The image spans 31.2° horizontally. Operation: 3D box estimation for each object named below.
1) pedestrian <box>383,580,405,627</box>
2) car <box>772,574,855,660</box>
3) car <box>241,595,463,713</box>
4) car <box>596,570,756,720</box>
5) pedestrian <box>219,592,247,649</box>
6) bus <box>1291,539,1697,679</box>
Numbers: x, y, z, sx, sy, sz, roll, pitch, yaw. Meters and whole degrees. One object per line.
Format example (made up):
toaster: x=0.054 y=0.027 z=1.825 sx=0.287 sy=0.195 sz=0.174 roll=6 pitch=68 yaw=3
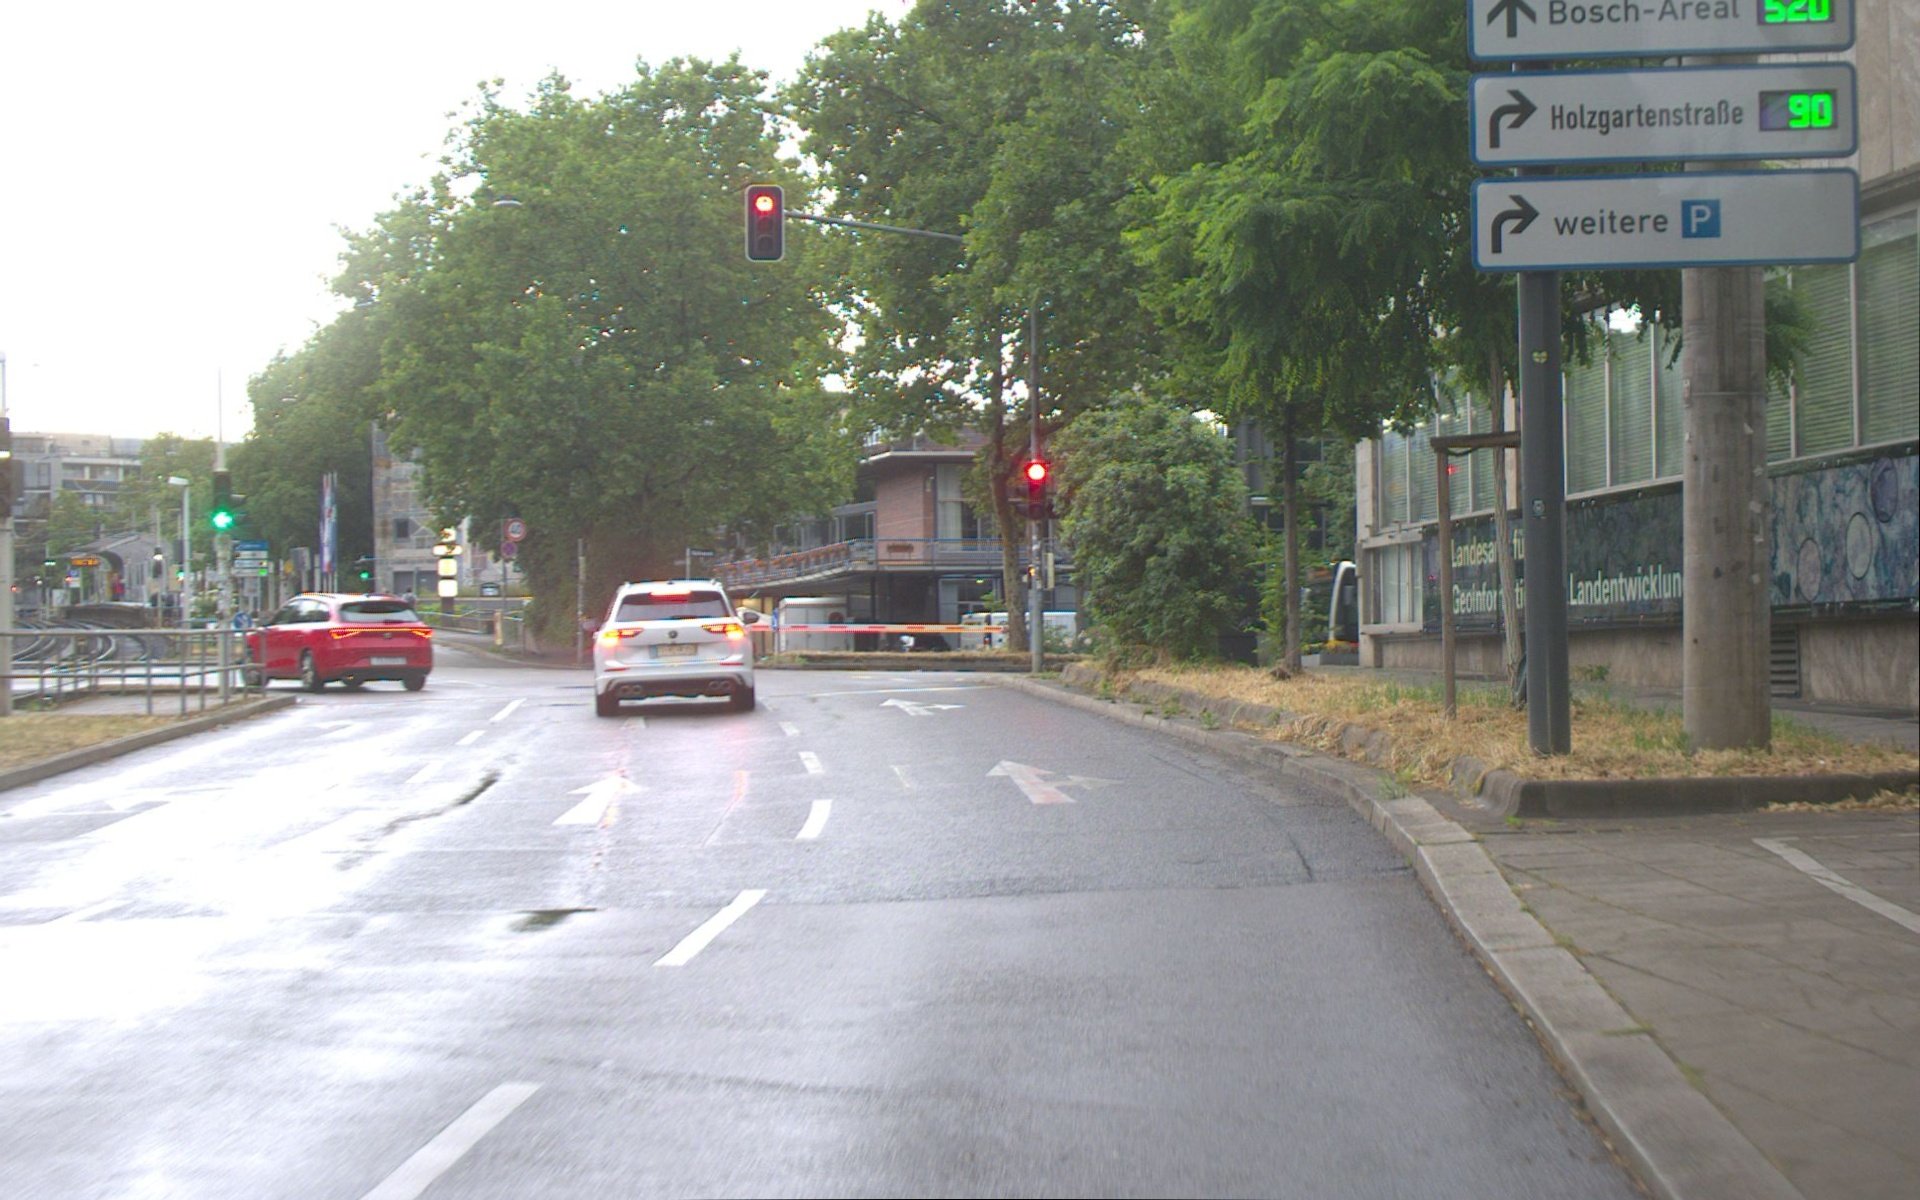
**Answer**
pedestrian: x=-22.274 y=0.128 z=135.288 sx=0.756 sy=1.817 sz=0.701 roll=1 pitch=-1 yaw=-16
car: x=-5.544 y=0.658 z=129.576 sx=2.544 sy=3.123 sz=5.032 roll=1 pitch=-1 yaw=-9
car: x=-9.015 y=0.789 z=50.694 sx=1.980 sy=1.634 sz=4.417 roll=2 pitch=-1 yaw=-27
car: x=-3.177 y=0.465 z=38.846 sx=1.679 sy=1.571 sz=4.253 roll=-1 pitch=0 yaw=-4
pedestrian: x=-21.207 y=0.609 z=100.295 sx=0.737 sy=1.634 sz=0.871 roll=1 pitch=-1 yaw=-13
bus: x=12.808 y=0.255 z=82.422 sx=9.421 sy=3.100 sz=2.559 roll=1 pitch=-1 yaw=-18
